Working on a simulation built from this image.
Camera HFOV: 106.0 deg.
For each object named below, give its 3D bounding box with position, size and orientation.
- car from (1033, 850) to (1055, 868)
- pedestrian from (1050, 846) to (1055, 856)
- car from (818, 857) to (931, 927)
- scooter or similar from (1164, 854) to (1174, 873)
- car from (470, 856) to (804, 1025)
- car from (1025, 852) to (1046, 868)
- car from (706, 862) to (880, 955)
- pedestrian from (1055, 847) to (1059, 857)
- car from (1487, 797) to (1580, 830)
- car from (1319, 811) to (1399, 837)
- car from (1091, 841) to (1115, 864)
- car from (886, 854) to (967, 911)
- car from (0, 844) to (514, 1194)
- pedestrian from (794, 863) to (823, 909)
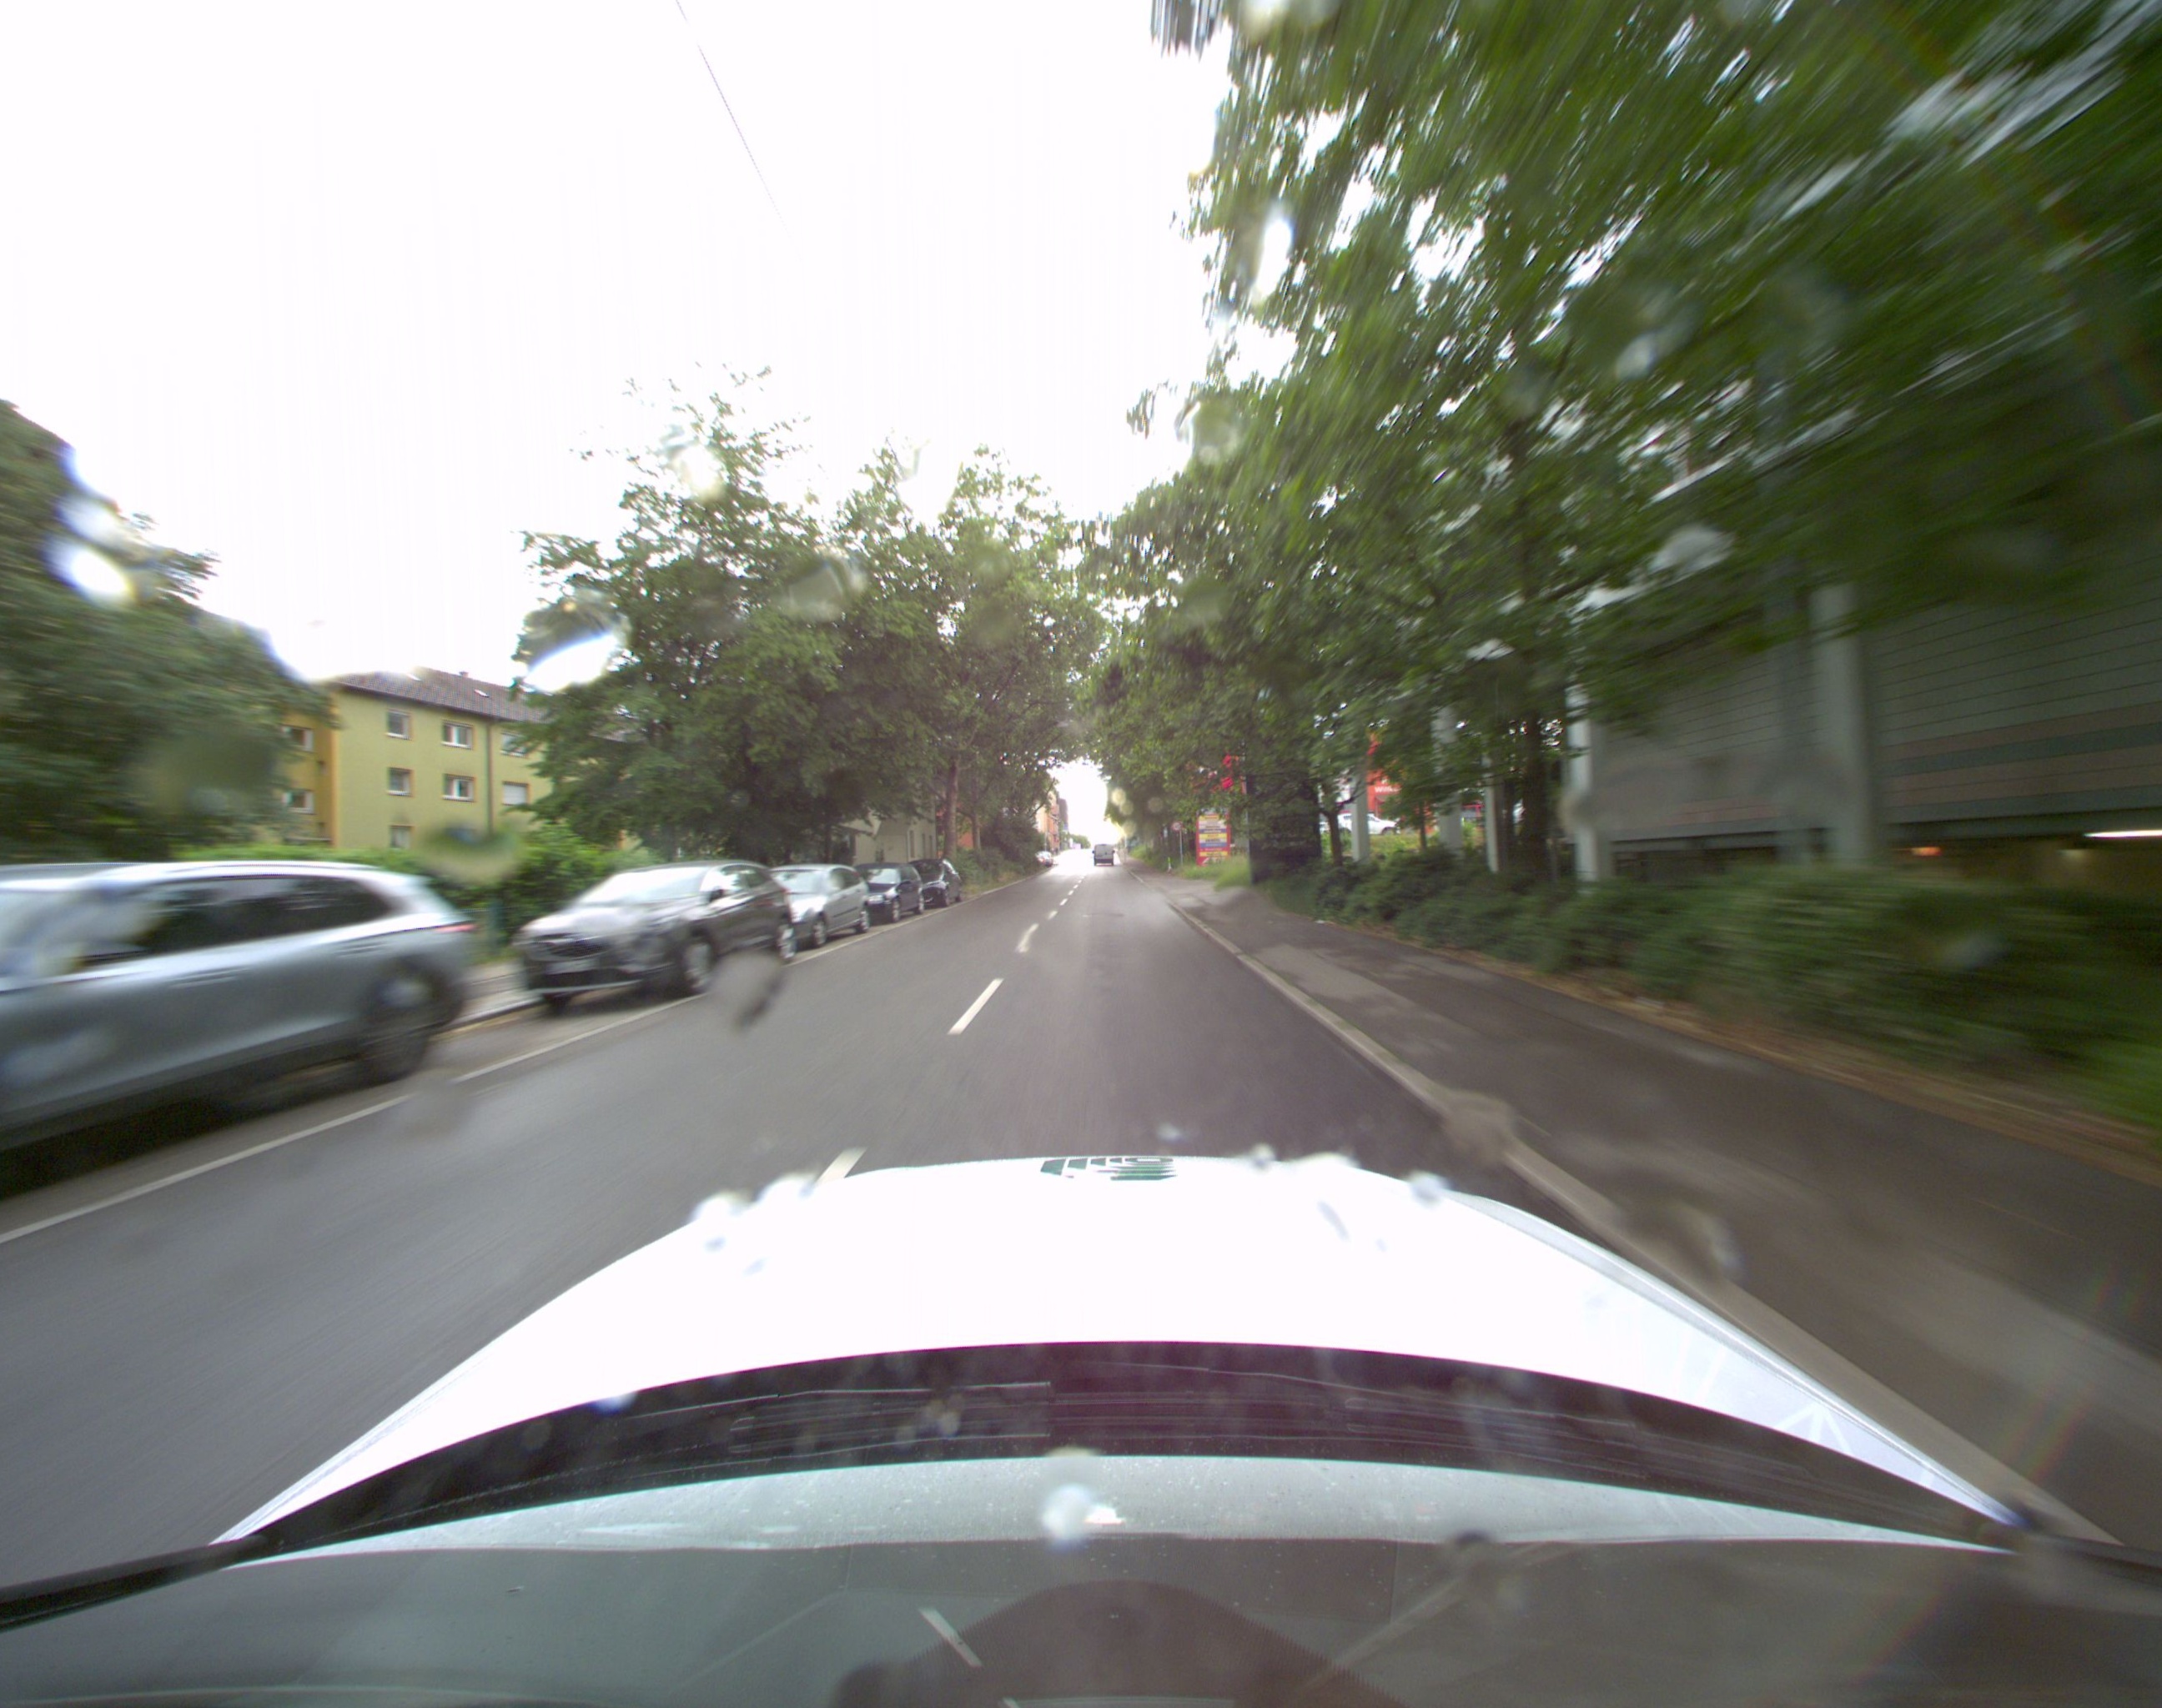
[{"bbox_3d":[-3.647,0.453,80.960,1.684,1.542,4.119,-5,1,2],"label":"car"},{"bbox_3d":[-5.970,-0.568,170.640,0.668,2.013,0.943,-2,0,6],"label":"pedestrian"},{"bbox_3d":[-5.153,0.895,20.838,1.666,1.508,3.876,-4,0,2],"label":"car"},{"bbox_3d":[5.538,0.593,51.280,0.424,1.142,1.528,0,-2,0],"label":"scooter or similar"},{"bbox_3d":[-5.275,0.889,10.474,1.859,1.591,4.238,-4,0,0],"label":"car"},{"bbox_3d":[-4.204,0.570,75.464,1.633,1.373,3.758,-2,0,0],"label":"car"},{"bbox_3d":[-5.335,0.927,15.677,1.665,1.508,4.126,-1,0,3],"label":"car"},{"bbox_3d":[-4.991,-0.460,170.838,0.668,2.013,0.943,-2,0,6],"label":"pedestrian"},{"bbox_3d":[28.245,-2.513,50.869,4.757,1.783,1.914,-2,0,-3],"label":"car"},{"bbox_3d":[16.325,-1.742,47.920,4.085,1.376,1.903,-1,0,1],"label":"car"},{"bbox_3d":[2.319,-0.132,83.623,2.327,2.231,4.002,-3,-1,2],"label":"car"},{"bbox_3d":[-4.882,0.849,26.326,1.642,1.538,4.019,-6,0,1],"label":"car"},{"bbox_3d":[-5.988,0.858,4.829,1.727,1.657,4.567,-6,0,3],"label":"car"},{"bbox_3d":[-9.784,1.163,29.290,0.584,1.620,1.022,1,-3,3],"label":"pedestrian"}]
